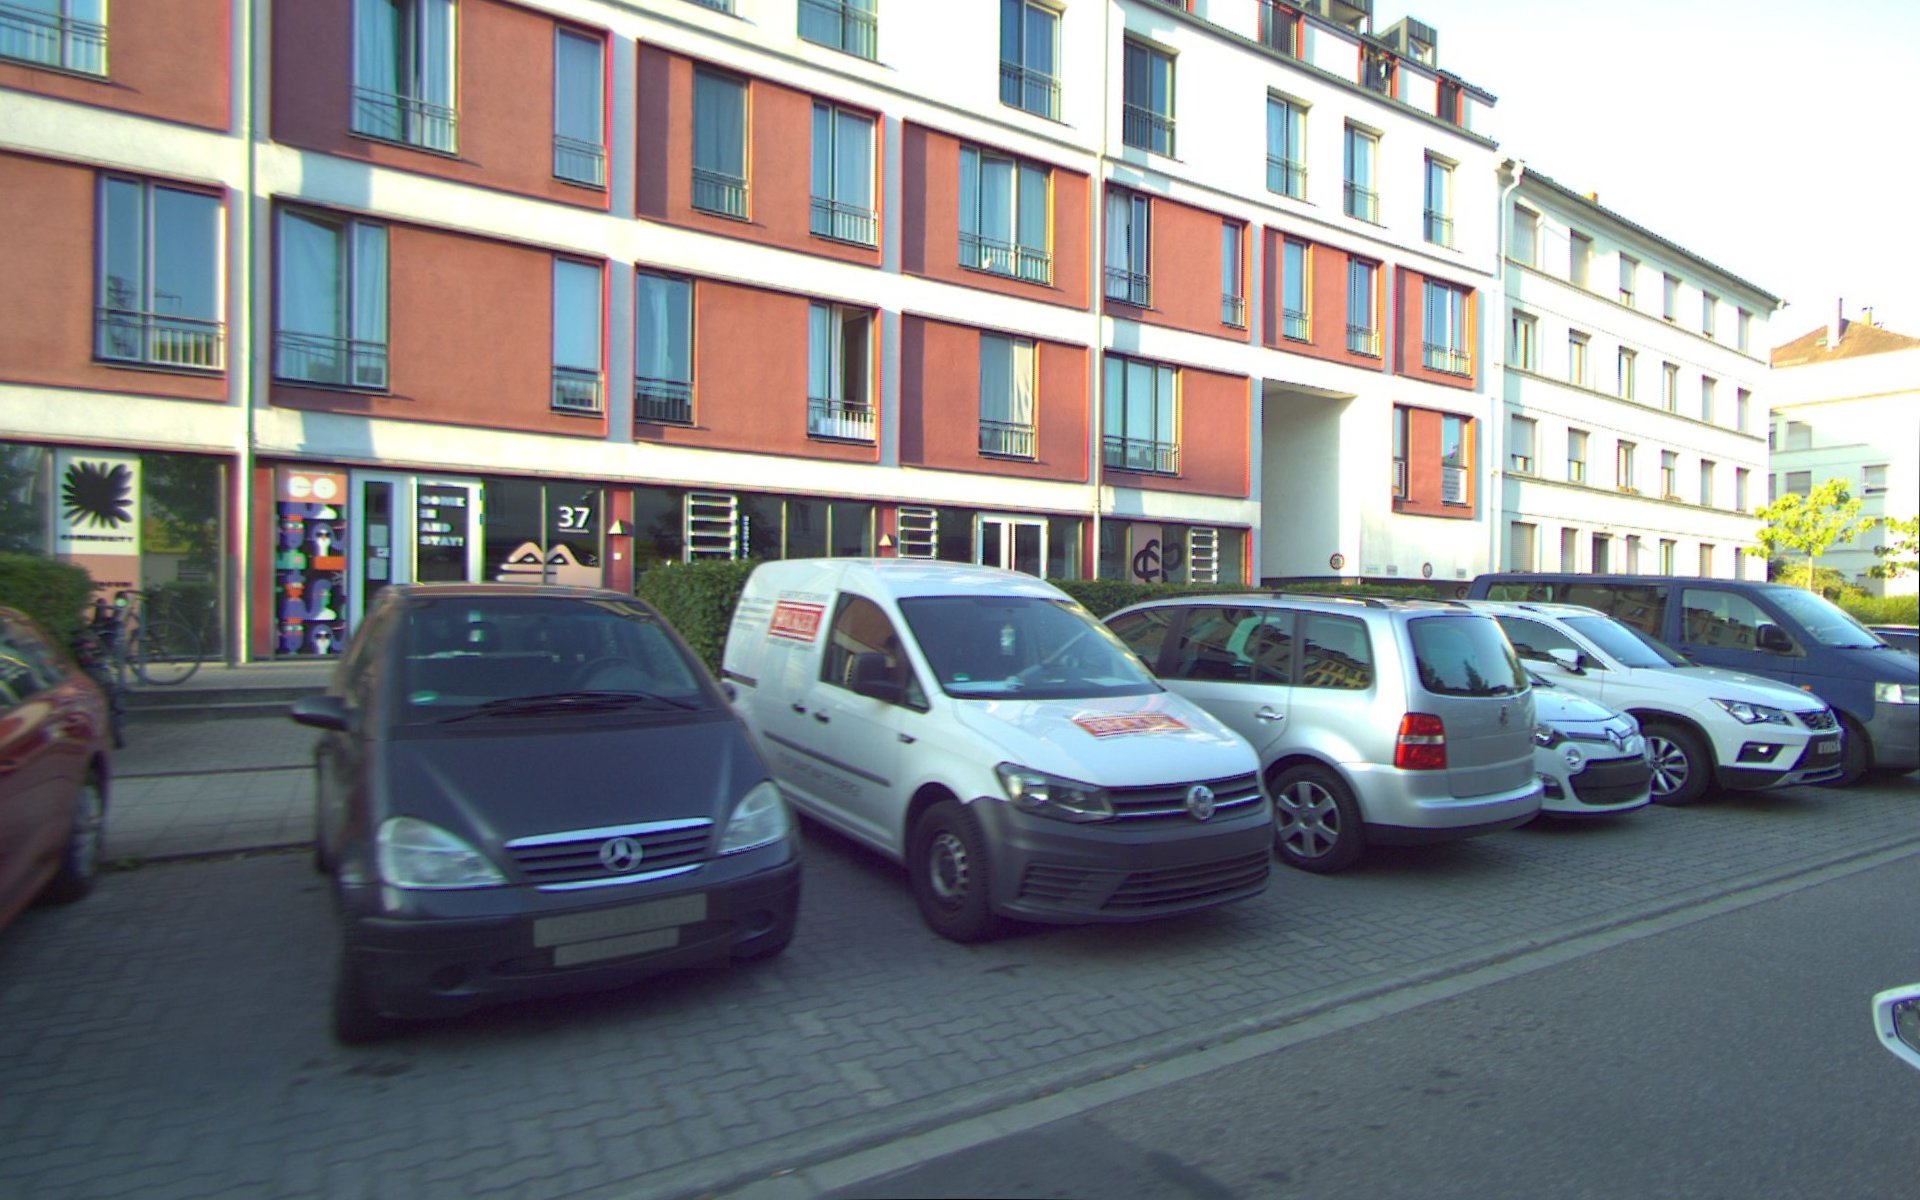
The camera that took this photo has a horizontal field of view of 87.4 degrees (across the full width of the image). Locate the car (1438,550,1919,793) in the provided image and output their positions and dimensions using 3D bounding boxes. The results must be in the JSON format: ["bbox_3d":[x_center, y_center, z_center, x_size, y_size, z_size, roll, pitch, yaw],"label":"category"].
[{"bbox_3d":[8.067,0.648,11.105,1.975,2.082,4.835,1,-1,-28],"label":"car"}]

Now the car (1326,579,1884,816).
[{"bbox_3d":[5.855,0.750,9.686,1.880,1.746,4.165,1,-1,-30],"label":"car"}]

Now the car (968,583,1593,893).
[{"bbox_3d":[2.094,0.744,7.408,2.036,1.610,3.954,1,-1,-39],"label":"car"}]

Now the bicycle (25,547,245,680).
[{"bbox_3d":[-8.591,0.144,10.506,1.781,1.331,0.514,1,0,-5],"label":"bicycle"}]

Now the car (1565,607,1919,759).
[{"bbox_3d":[10.099,0.924,12.691,1.637,1.513,3.859,1,1,-34],"label":"car"}]

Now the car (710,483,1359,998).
[{"bbox_3d":[0.028,0.554,6.034,1.876,1.921,4.157,1,-1,-30],"label":"car"}]

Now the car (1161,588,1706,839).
[{"bbox_3d":[3.784,0.757,8.728,1.777,1.639,3.966,1,-1,-31],"label":"car"}]

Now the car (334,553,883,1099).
[{"bbox_3d":[-1.982,0.642,4.876,1.765,1.584,3.510,1,0,-32],"label":"car"}]

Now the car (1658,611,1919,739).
[{"bbox_3d":[12.109,0.980,13.496,1.721,1.435,4.110,1,2,-35],"label":"car"}]

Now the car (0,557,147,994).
[{"bbox_3d":[-4.187,0.595,3.225,1.767,1.513,4.243,1,0,-30],"label":"car"}]
